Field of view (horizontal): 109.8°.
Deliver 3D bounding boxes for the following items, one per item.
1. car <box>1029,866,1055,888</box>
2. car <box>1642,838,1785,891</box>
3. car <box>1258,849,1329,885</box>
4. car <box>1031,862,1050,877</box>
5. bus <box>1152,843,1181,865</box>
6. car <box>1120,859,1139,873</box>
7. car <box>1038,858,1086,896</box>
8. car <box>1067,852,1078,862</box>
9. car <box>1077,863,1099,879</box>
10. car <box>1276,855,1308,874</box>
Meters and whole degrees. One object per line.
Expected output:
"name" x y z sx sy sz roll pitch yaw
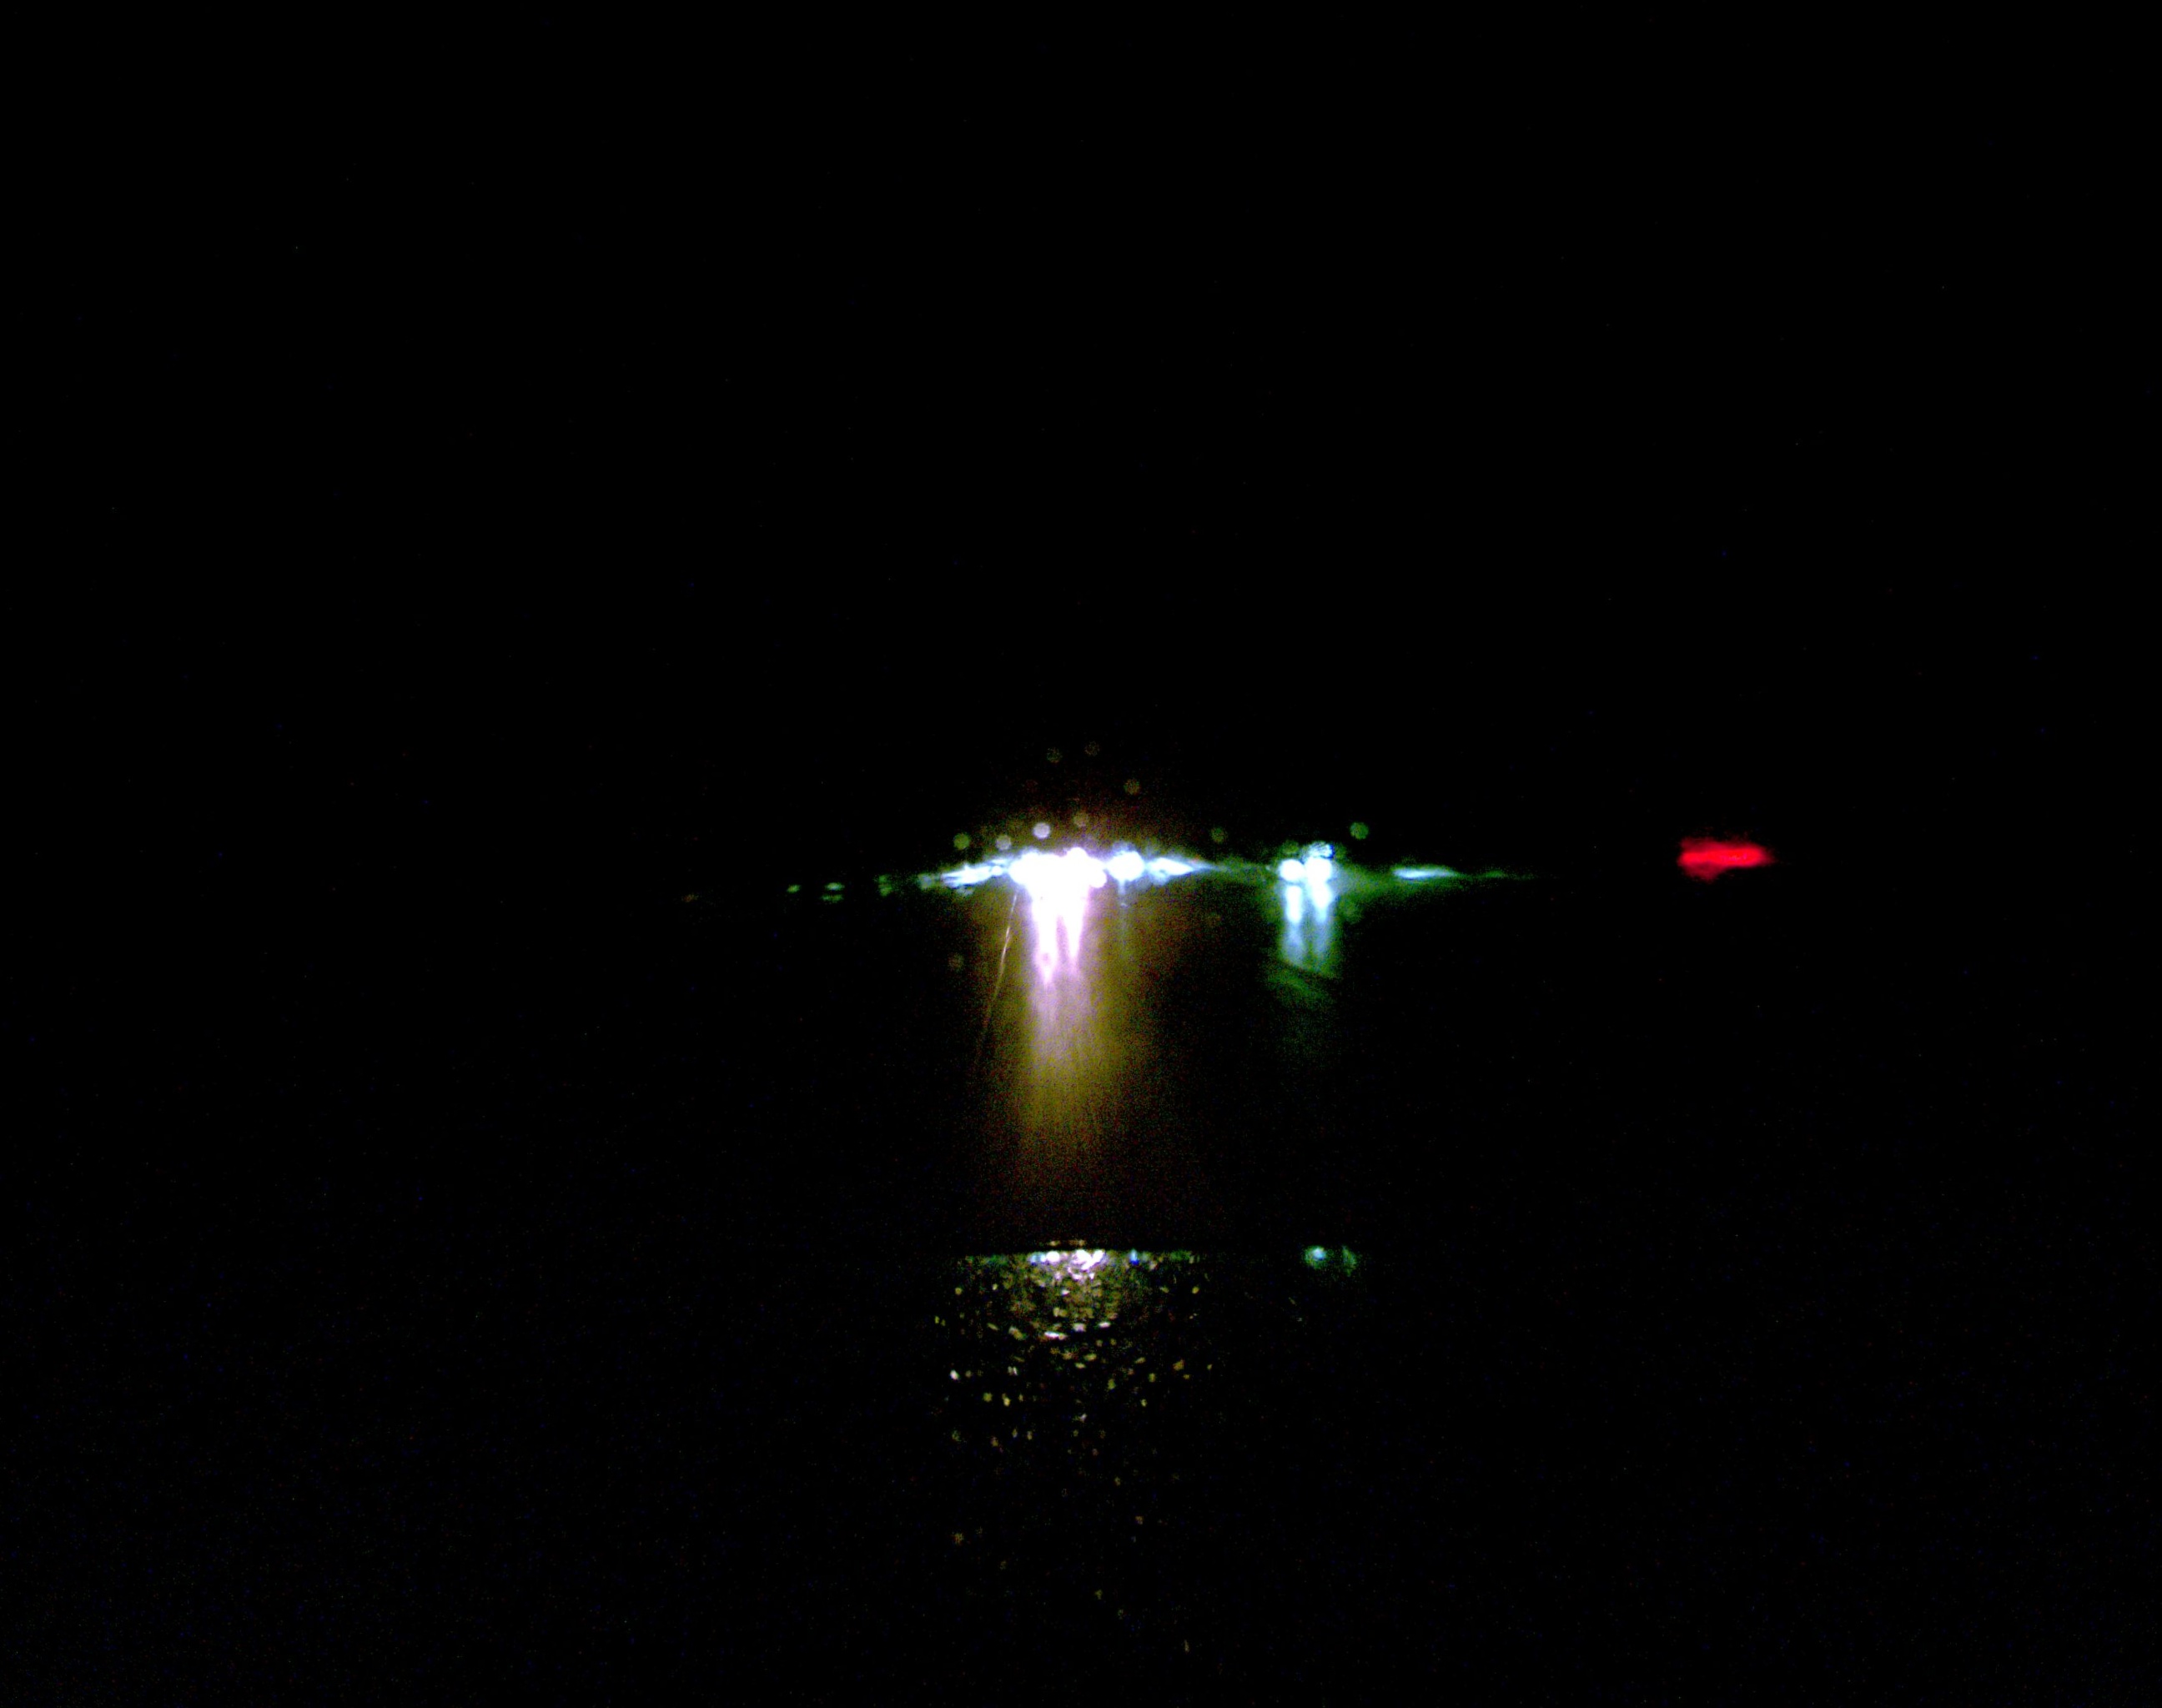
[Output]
"car" -3.017 1.773 59.010 1.813 1.477 3.582 -3 0 -1
"car" 23.812 0.373 28.832 1.909 1.797 3.999 -3 0 -3
"car" 10.474 0.616 37.813 1.999 1.551 4.586 -3 0 -3
"car" -4.346 1.644 80.879 1.814 1.477 3.581 -3 0 -5
"bus" 18.595 -0.060 166.751 3.083 4.463 17.006 -3 0 -4
"car" 6.444 1.562 101.122 1.999 1.797 3.999 -3 0 -3
"car" -0.930 1.060 34.673 1.999 1.542 4.000 -3 -2 -3
"car" -1.692 0.521 150.681 1.999 1.797 3.999 -3 0 -3
"car" 0.703 1.838 82.813 1.999 1.551 4.586 -3 0 -3
"car" 22.222 1.087 80.157 1.909 1.797 3.998 -3 0 -6
